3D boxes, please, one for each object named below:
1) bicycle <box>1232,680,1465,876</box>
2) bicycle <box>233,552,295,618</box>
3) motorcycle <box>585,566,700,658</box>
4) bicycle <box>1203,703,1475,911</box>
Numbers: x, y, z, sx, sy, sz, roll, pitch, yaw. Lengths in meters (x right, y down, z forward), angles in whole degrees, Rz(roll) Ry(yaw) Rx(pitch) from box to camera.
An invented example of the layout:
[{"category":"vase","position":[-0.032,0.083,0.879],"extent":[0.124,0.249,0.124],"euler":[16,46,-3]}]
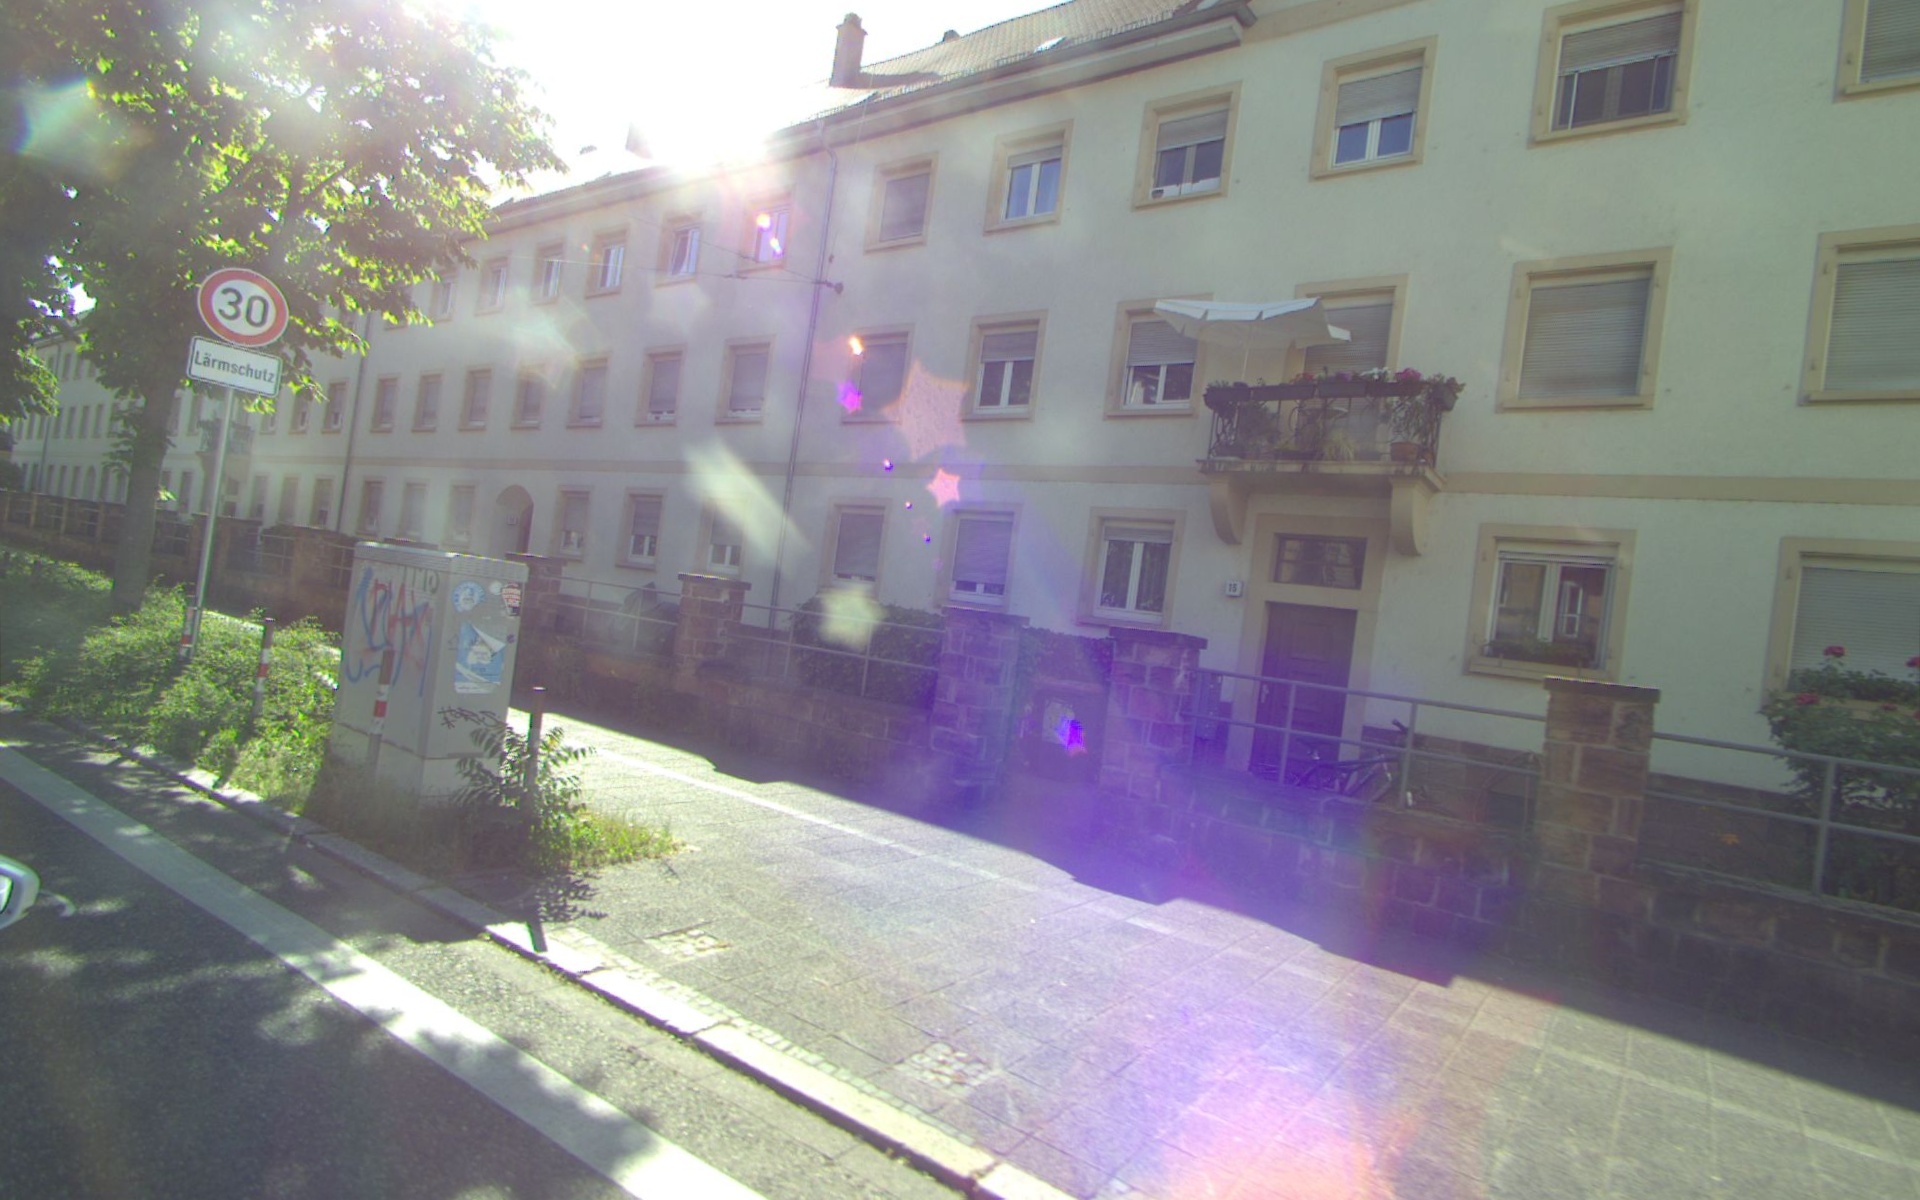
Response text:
[{"category":"bicycle","position":[3.276,1.466,8.550],"extent":[1.645,1.313,0.460],"euler":[7,-4,32]},{"category":"bicycle","position":[-15.269,-0.341,22.059],"extent":[1.649,1.252,0.448],"euler":[7,-2,36]},{"category":"motorcycle","position":[-6.315,0.221,19.950],"extent":[2.223,1.503,0.808],"euler":[7,-4,36]},{"category":"bicycle","position":[2.686,1.430,7.207],"extent":[1.645,1.104,0.460],"euler":[7,-4,32]}]
